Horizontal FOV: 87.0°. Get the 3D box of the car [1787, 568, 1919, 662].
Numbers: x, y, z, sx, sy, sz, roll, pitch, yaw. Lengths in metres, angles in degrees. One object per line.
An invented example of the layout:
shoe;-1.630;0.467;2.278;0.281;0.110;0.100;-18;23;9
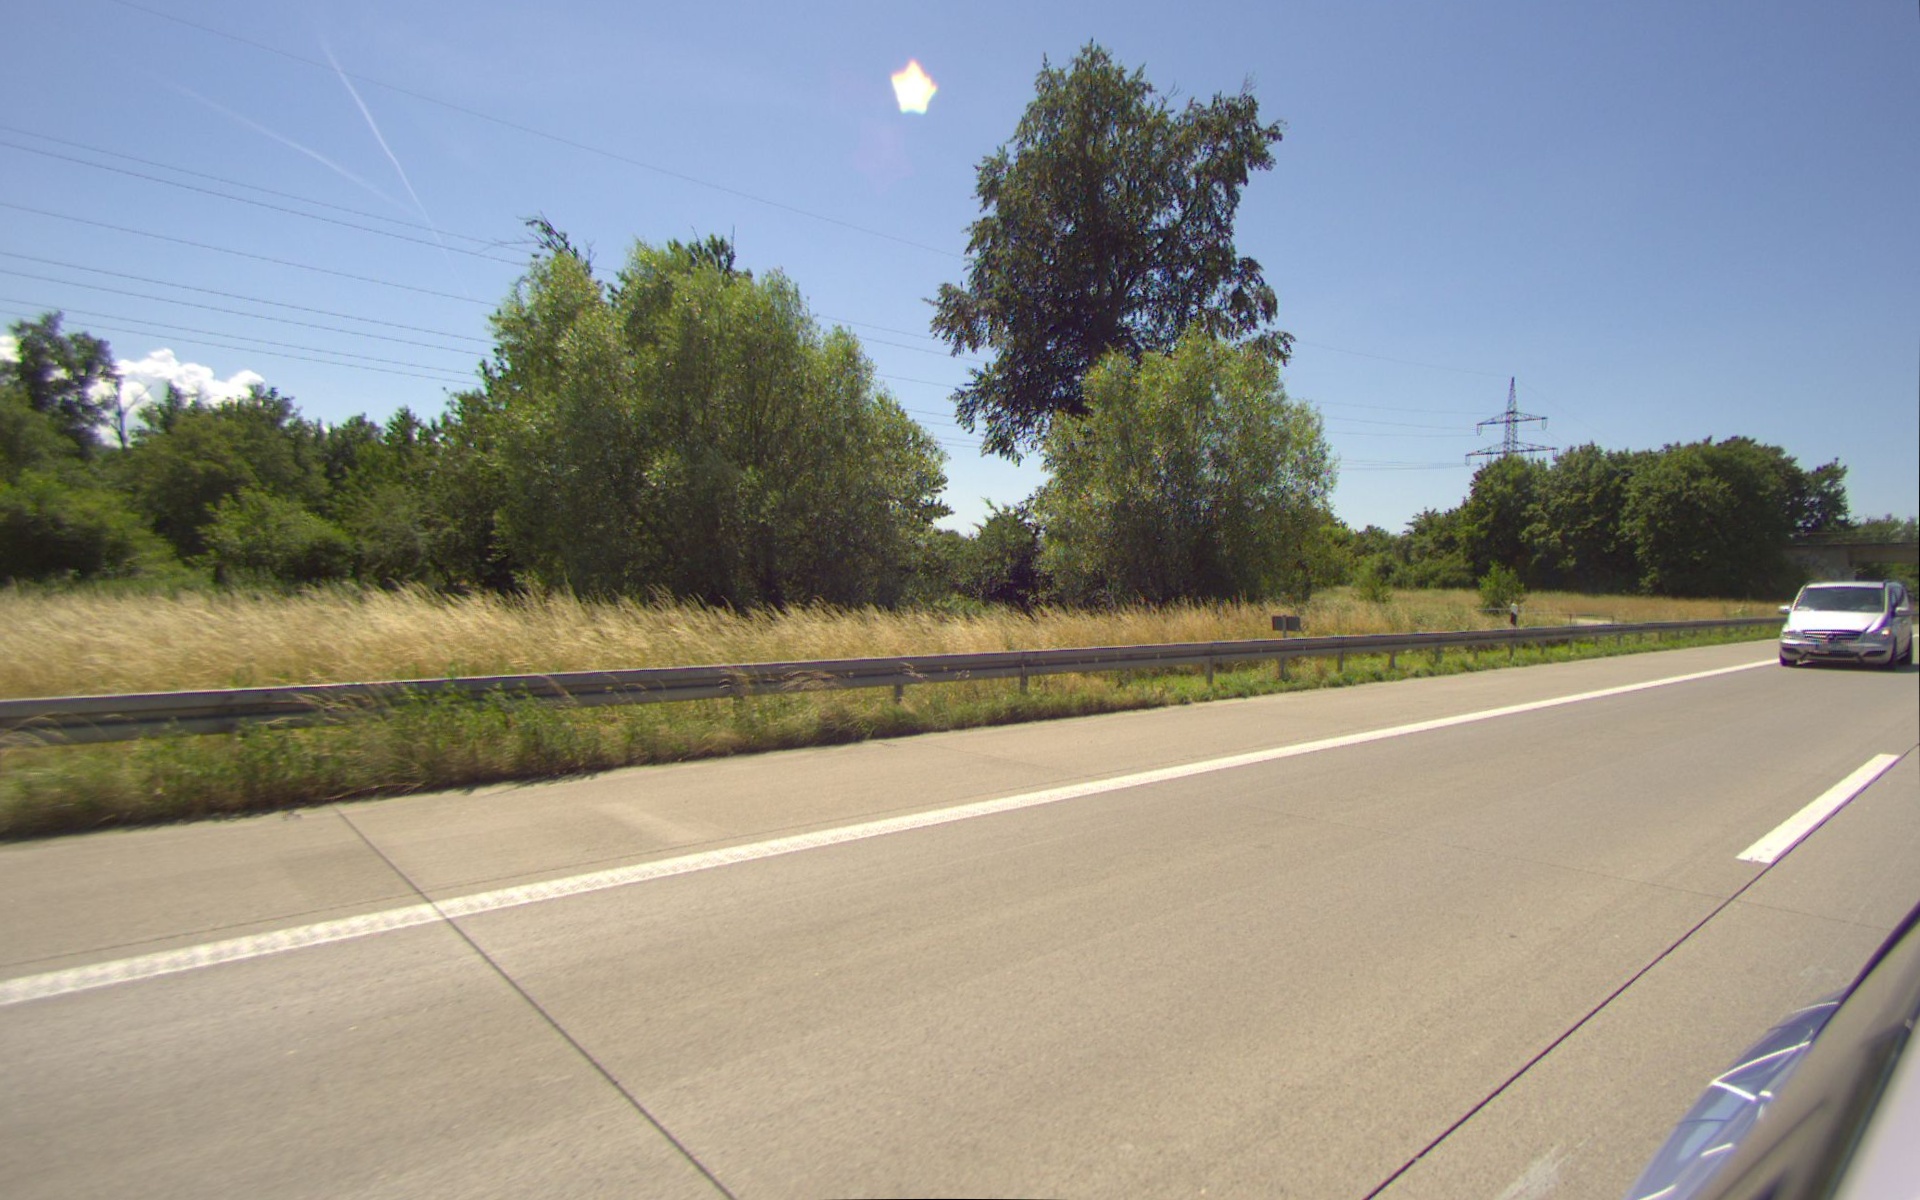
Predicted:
car;20.486;0.295;22.917;5.187;1.913;1.882;0;1;-41
